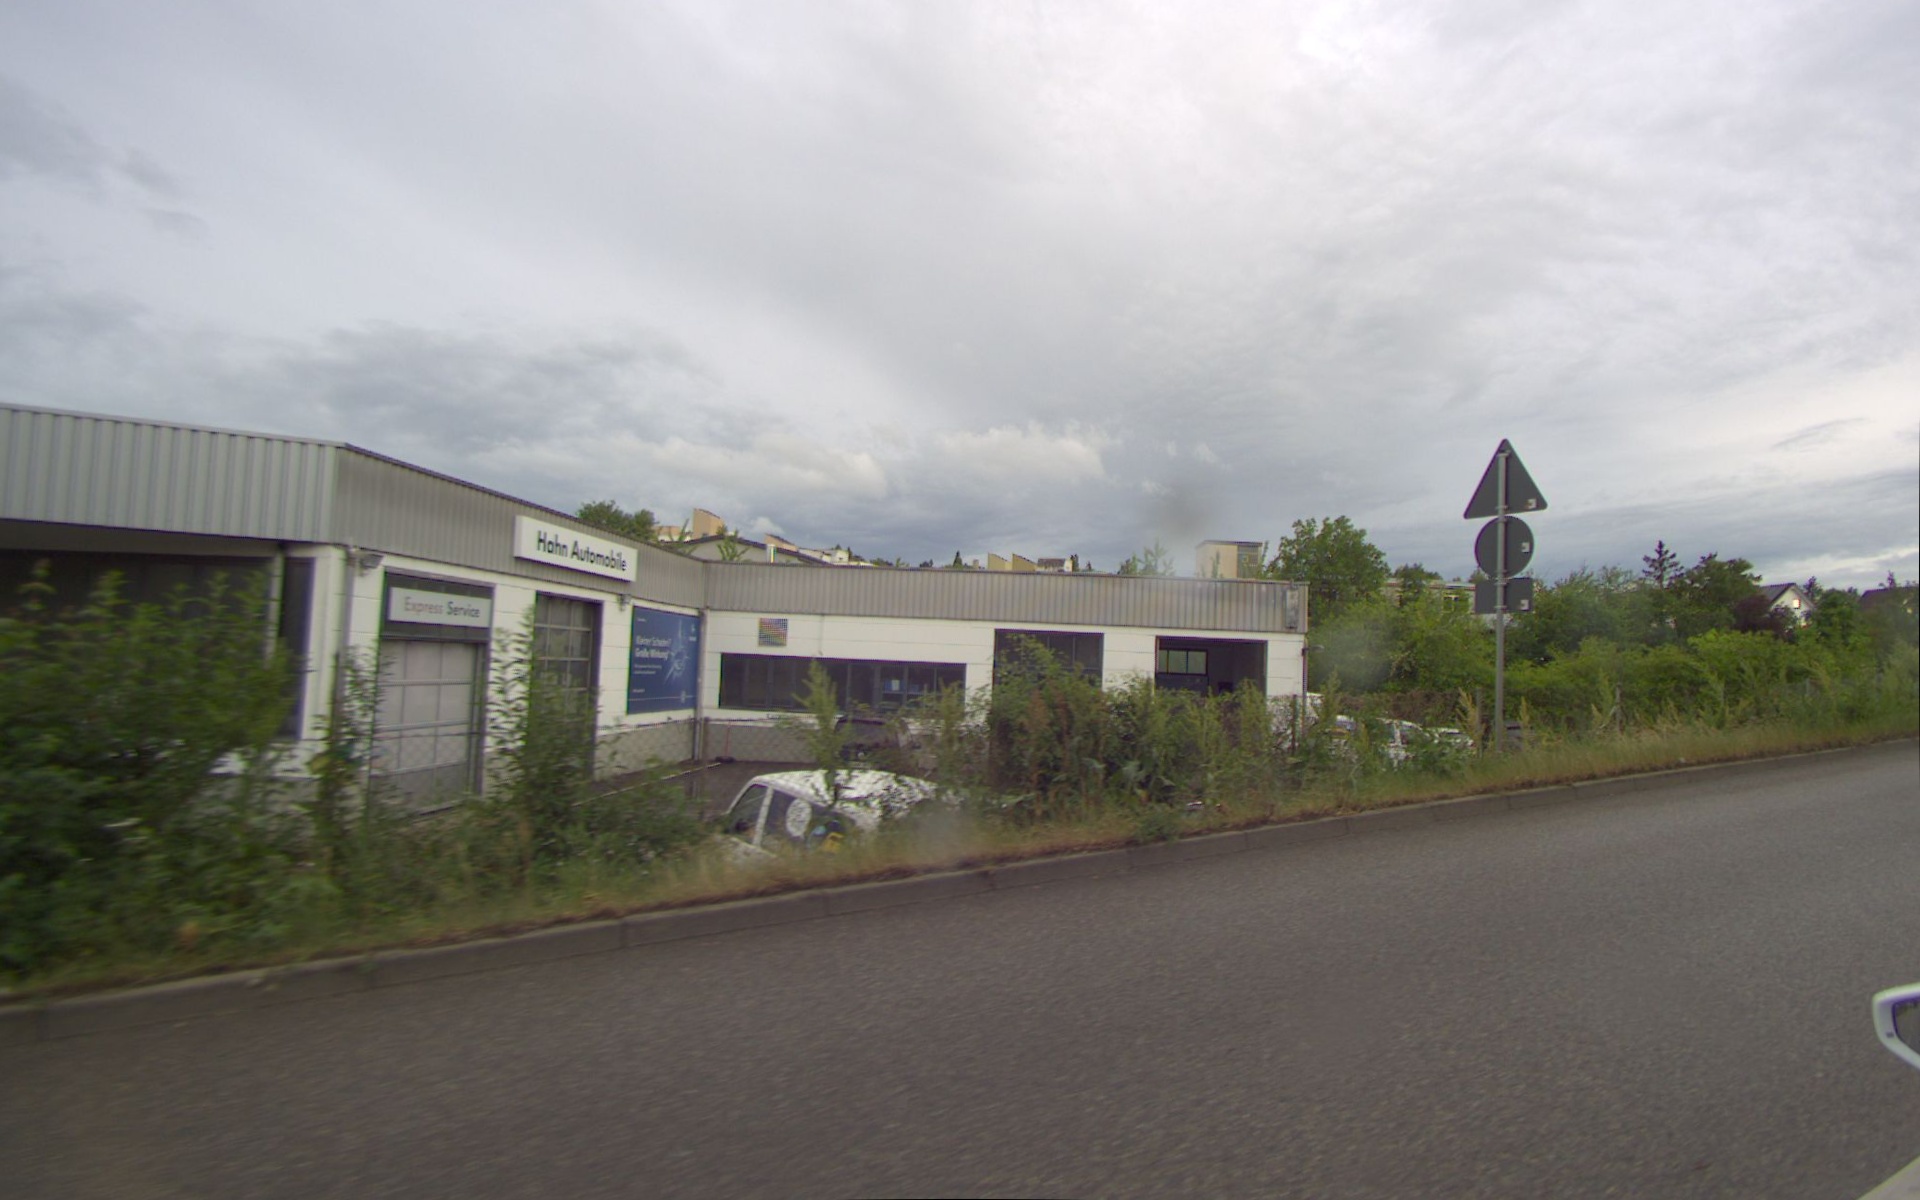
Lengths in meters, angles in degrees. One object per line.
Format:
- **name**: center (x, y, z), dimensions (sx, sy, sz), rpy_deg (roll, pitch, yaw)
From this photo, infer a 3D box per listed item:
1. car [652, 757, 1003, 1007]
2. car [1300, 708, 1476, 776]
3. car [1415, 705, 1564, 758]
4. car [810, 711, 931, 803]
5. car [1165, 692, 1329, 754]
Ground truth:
- **car**: center (-1.655, 2.659, 10.584), dimensions (1.848, 1.826, 4.603), rpy_deg (1, -8, -33)
- **car**: center (13.243, 4.405, 31.290), dimensions (4.549, 1.826, 1.869), rpy_deg (-3, -6, 1)
- **car**: center (20.114, 5.000, 38.318), dimensions (4.549, 1.713, 1.869), rpy_deg (-3, -6, 1)
- **car**: center (-1.952, 3.557, 23.391), dimensions (1.830, 1.826, 4.648), rpy_deg (-3, -7, 7)
- **car**: center (12.438, 5.356, 43.867), dimensions (6.464, 2.492, 1.987), rpy_deg (-1, -6, 1)
